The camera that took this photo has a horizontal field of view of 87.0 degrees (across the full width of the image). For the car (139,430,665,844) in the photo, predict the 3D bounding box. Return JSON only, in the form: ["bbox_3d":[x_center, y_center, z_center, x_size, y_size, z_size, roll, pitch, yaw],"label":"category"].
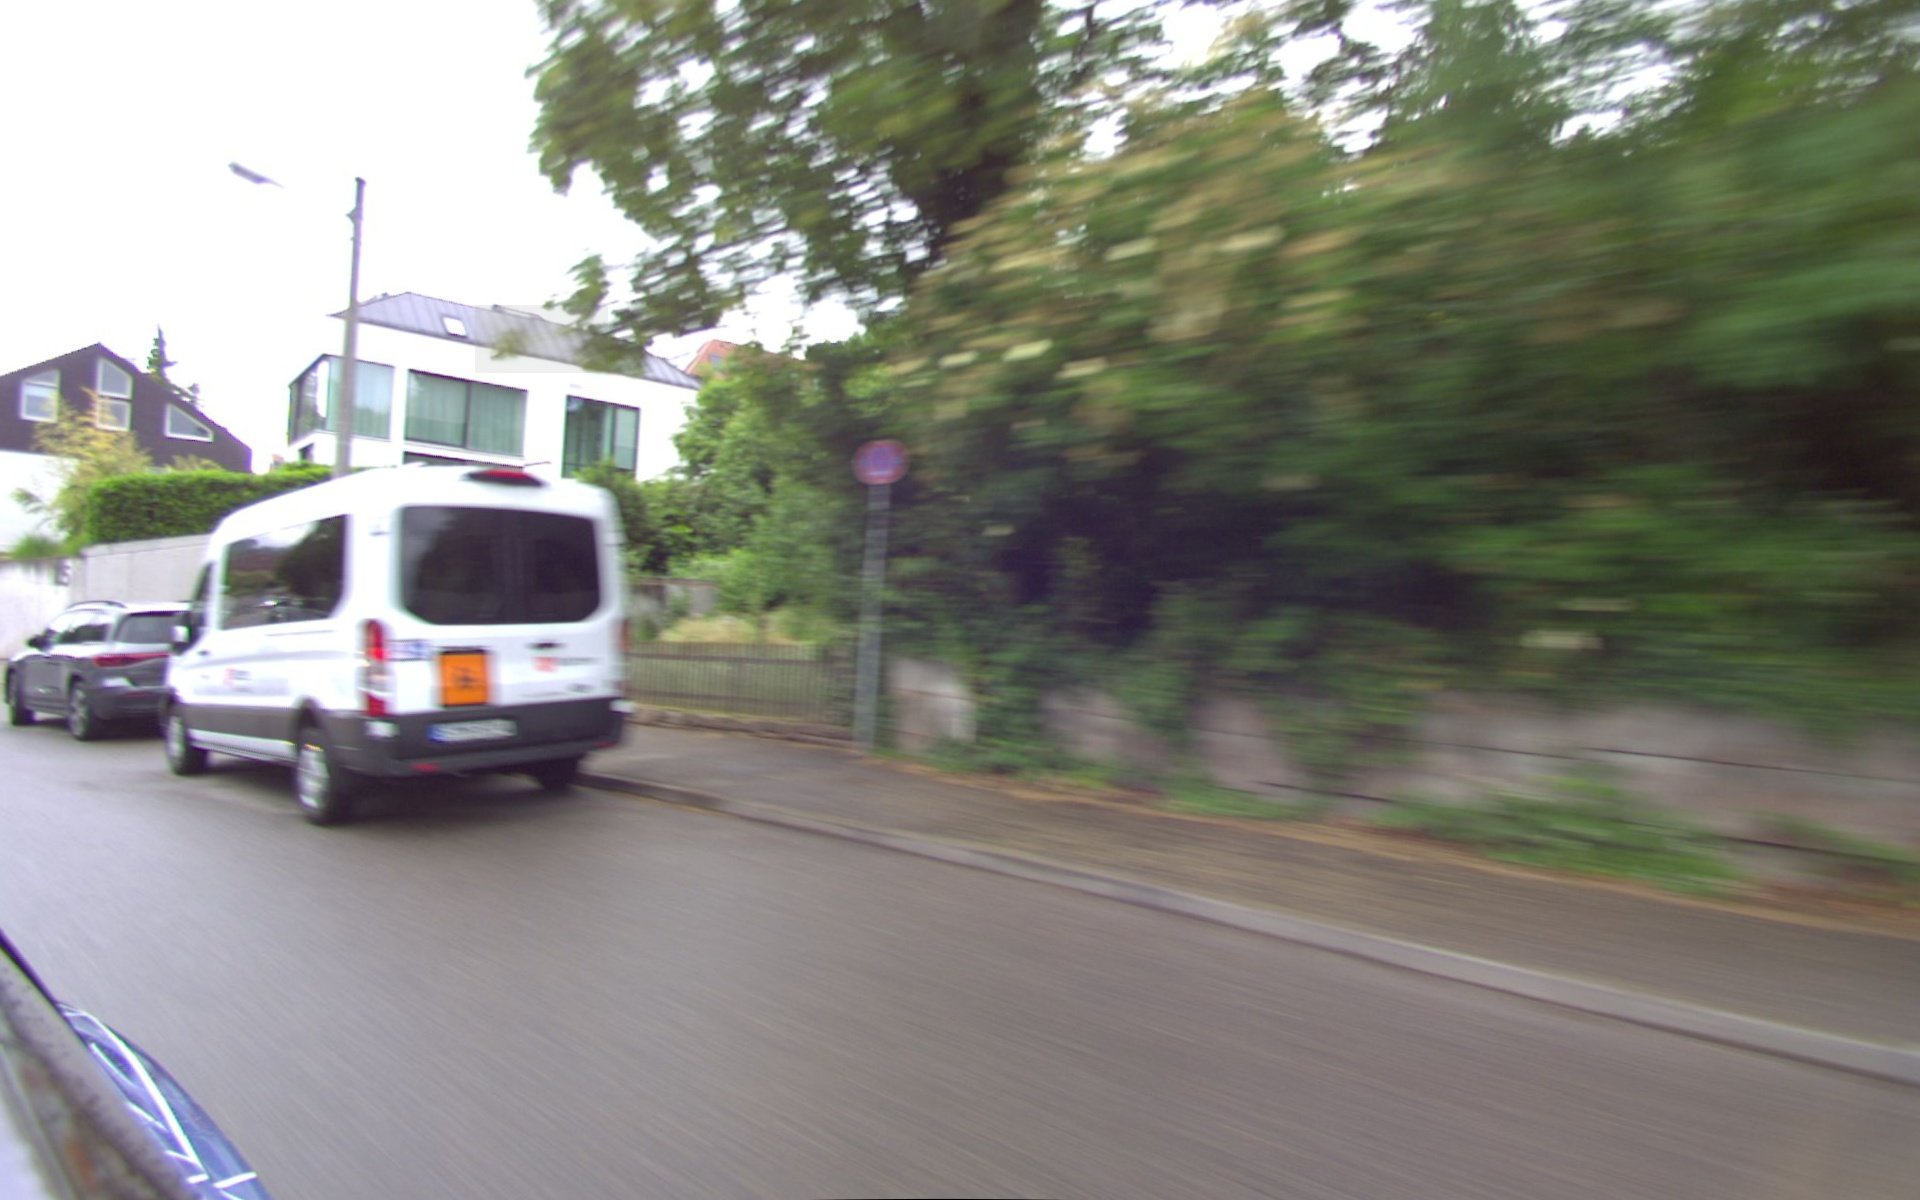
[{"bbox_3d":[-5.284,0.268,9.041,6.092,2.569,2.073,-1,-1,40],"label":"car"}]

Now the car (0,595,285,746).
[{"bbox_3d":[-11.093,0.813,13.532,4.533,1.704,1.880,0,-1,34],"label":"car"}]
